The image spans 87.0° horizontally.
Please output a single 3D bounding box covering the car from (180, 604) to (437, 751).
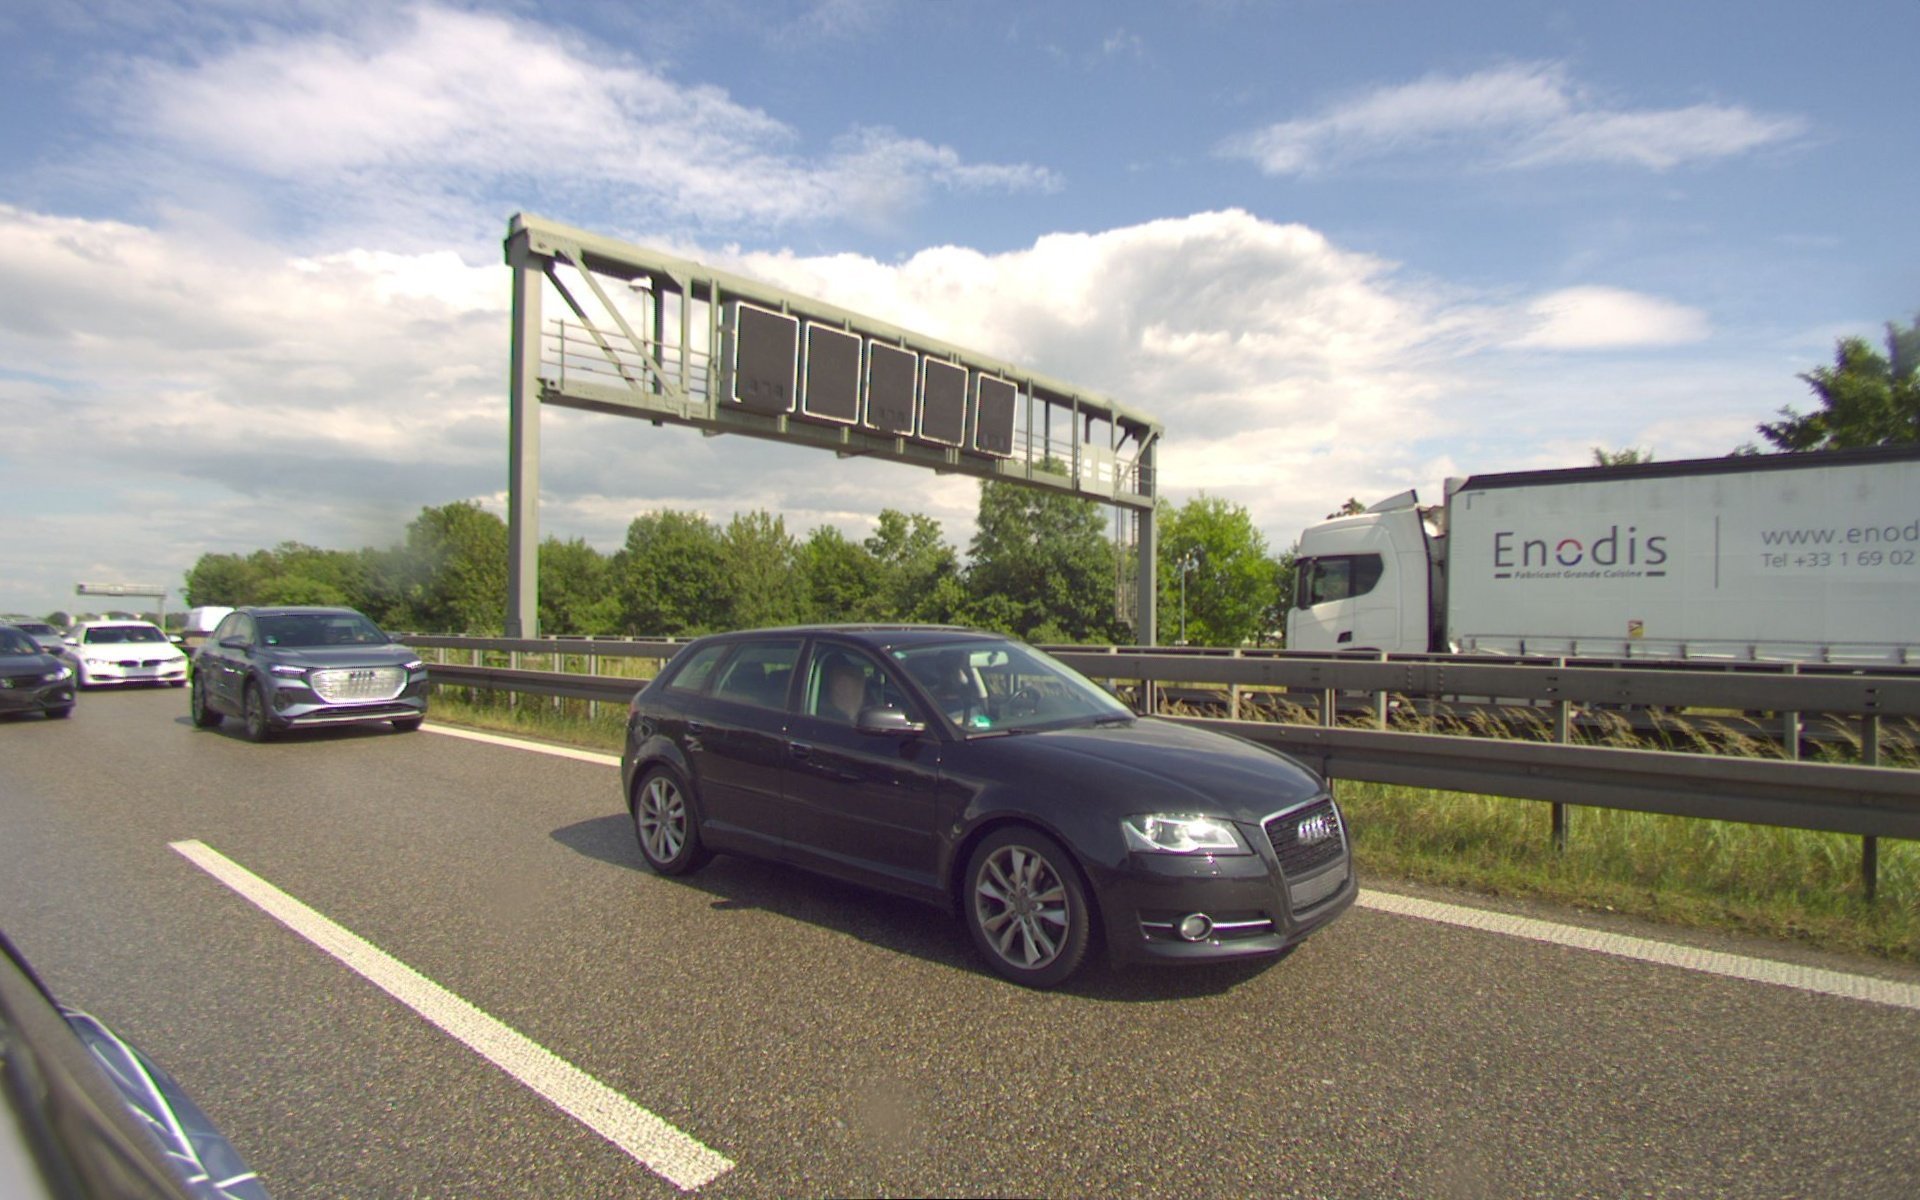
[{"bbox_3d":[-8.645,0.889,13.285,4.228,1.618,1.850,-1,-1,43],"label":"car"}]

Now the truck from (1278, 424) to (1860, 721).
[{"bbox_3d":[9.633,-0.349,16.808,7.874,3.850,2.832,0,0,41],"label":"truck"}]

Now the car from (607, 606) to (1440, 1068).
[{"bbox_3d":[0.016,0.776,5.245,4.138,1.436,1.747,-1,0,43],"label":"car"}]

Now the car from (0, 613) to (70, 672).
[{"bbox_3d":[-31.339,1.370,33.743,3.998,1.762,1.973,0,1,41],"label":"car"}]

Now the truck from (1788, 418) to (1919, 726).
[{"bbox_3d":[15.587,-0.346,11.567,9.418,3.882,2.819,0,0,41],"label":"truck"}]

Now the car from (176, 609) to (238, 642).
[{"bbox_3d":[-47.932,1.603,64.390,5.555,2.029,1.973,-1,-2,41],"label":"car"}]

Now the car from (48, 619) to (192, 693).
[{"bbox_3d":[-18.085,1.126,21.732,3.998,1.389,1.748,0,-1,41],"label":"car"}]

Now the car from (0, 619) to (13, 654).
[{"bbox_3d":[-44.019,1.656,45.289,3.998,1.490,1.973,0,1,41],"label":"car"}]
